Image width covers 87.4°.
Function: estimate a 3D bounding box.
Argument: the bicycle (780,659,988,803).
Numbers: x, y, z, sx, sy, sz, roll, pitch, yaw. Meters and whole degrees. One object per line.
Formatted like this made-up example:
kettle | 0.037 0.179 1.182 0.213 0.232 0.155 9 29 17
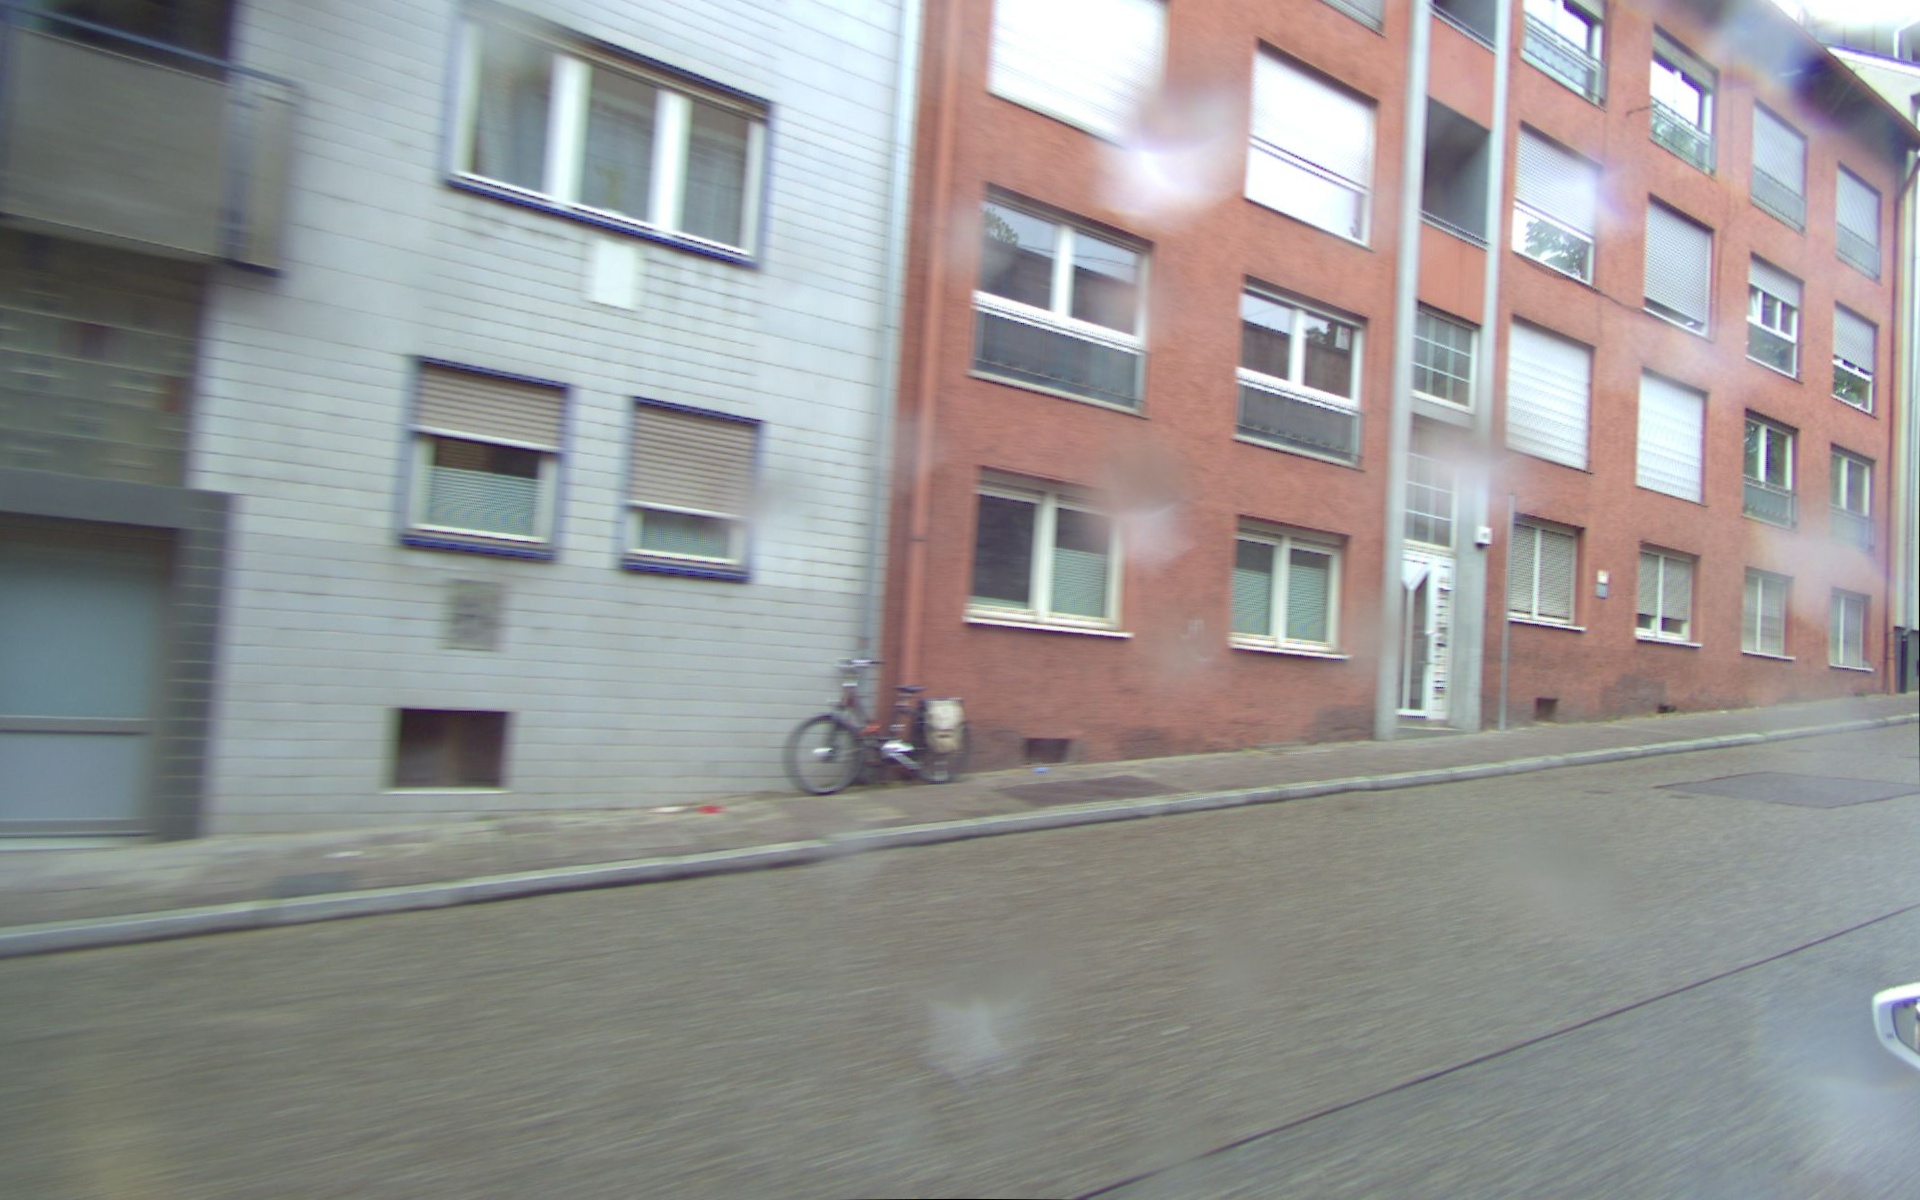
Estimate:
bicycle | -0.638 1.091 8.748 1.778 1.122 0.496 1 -1 -29
